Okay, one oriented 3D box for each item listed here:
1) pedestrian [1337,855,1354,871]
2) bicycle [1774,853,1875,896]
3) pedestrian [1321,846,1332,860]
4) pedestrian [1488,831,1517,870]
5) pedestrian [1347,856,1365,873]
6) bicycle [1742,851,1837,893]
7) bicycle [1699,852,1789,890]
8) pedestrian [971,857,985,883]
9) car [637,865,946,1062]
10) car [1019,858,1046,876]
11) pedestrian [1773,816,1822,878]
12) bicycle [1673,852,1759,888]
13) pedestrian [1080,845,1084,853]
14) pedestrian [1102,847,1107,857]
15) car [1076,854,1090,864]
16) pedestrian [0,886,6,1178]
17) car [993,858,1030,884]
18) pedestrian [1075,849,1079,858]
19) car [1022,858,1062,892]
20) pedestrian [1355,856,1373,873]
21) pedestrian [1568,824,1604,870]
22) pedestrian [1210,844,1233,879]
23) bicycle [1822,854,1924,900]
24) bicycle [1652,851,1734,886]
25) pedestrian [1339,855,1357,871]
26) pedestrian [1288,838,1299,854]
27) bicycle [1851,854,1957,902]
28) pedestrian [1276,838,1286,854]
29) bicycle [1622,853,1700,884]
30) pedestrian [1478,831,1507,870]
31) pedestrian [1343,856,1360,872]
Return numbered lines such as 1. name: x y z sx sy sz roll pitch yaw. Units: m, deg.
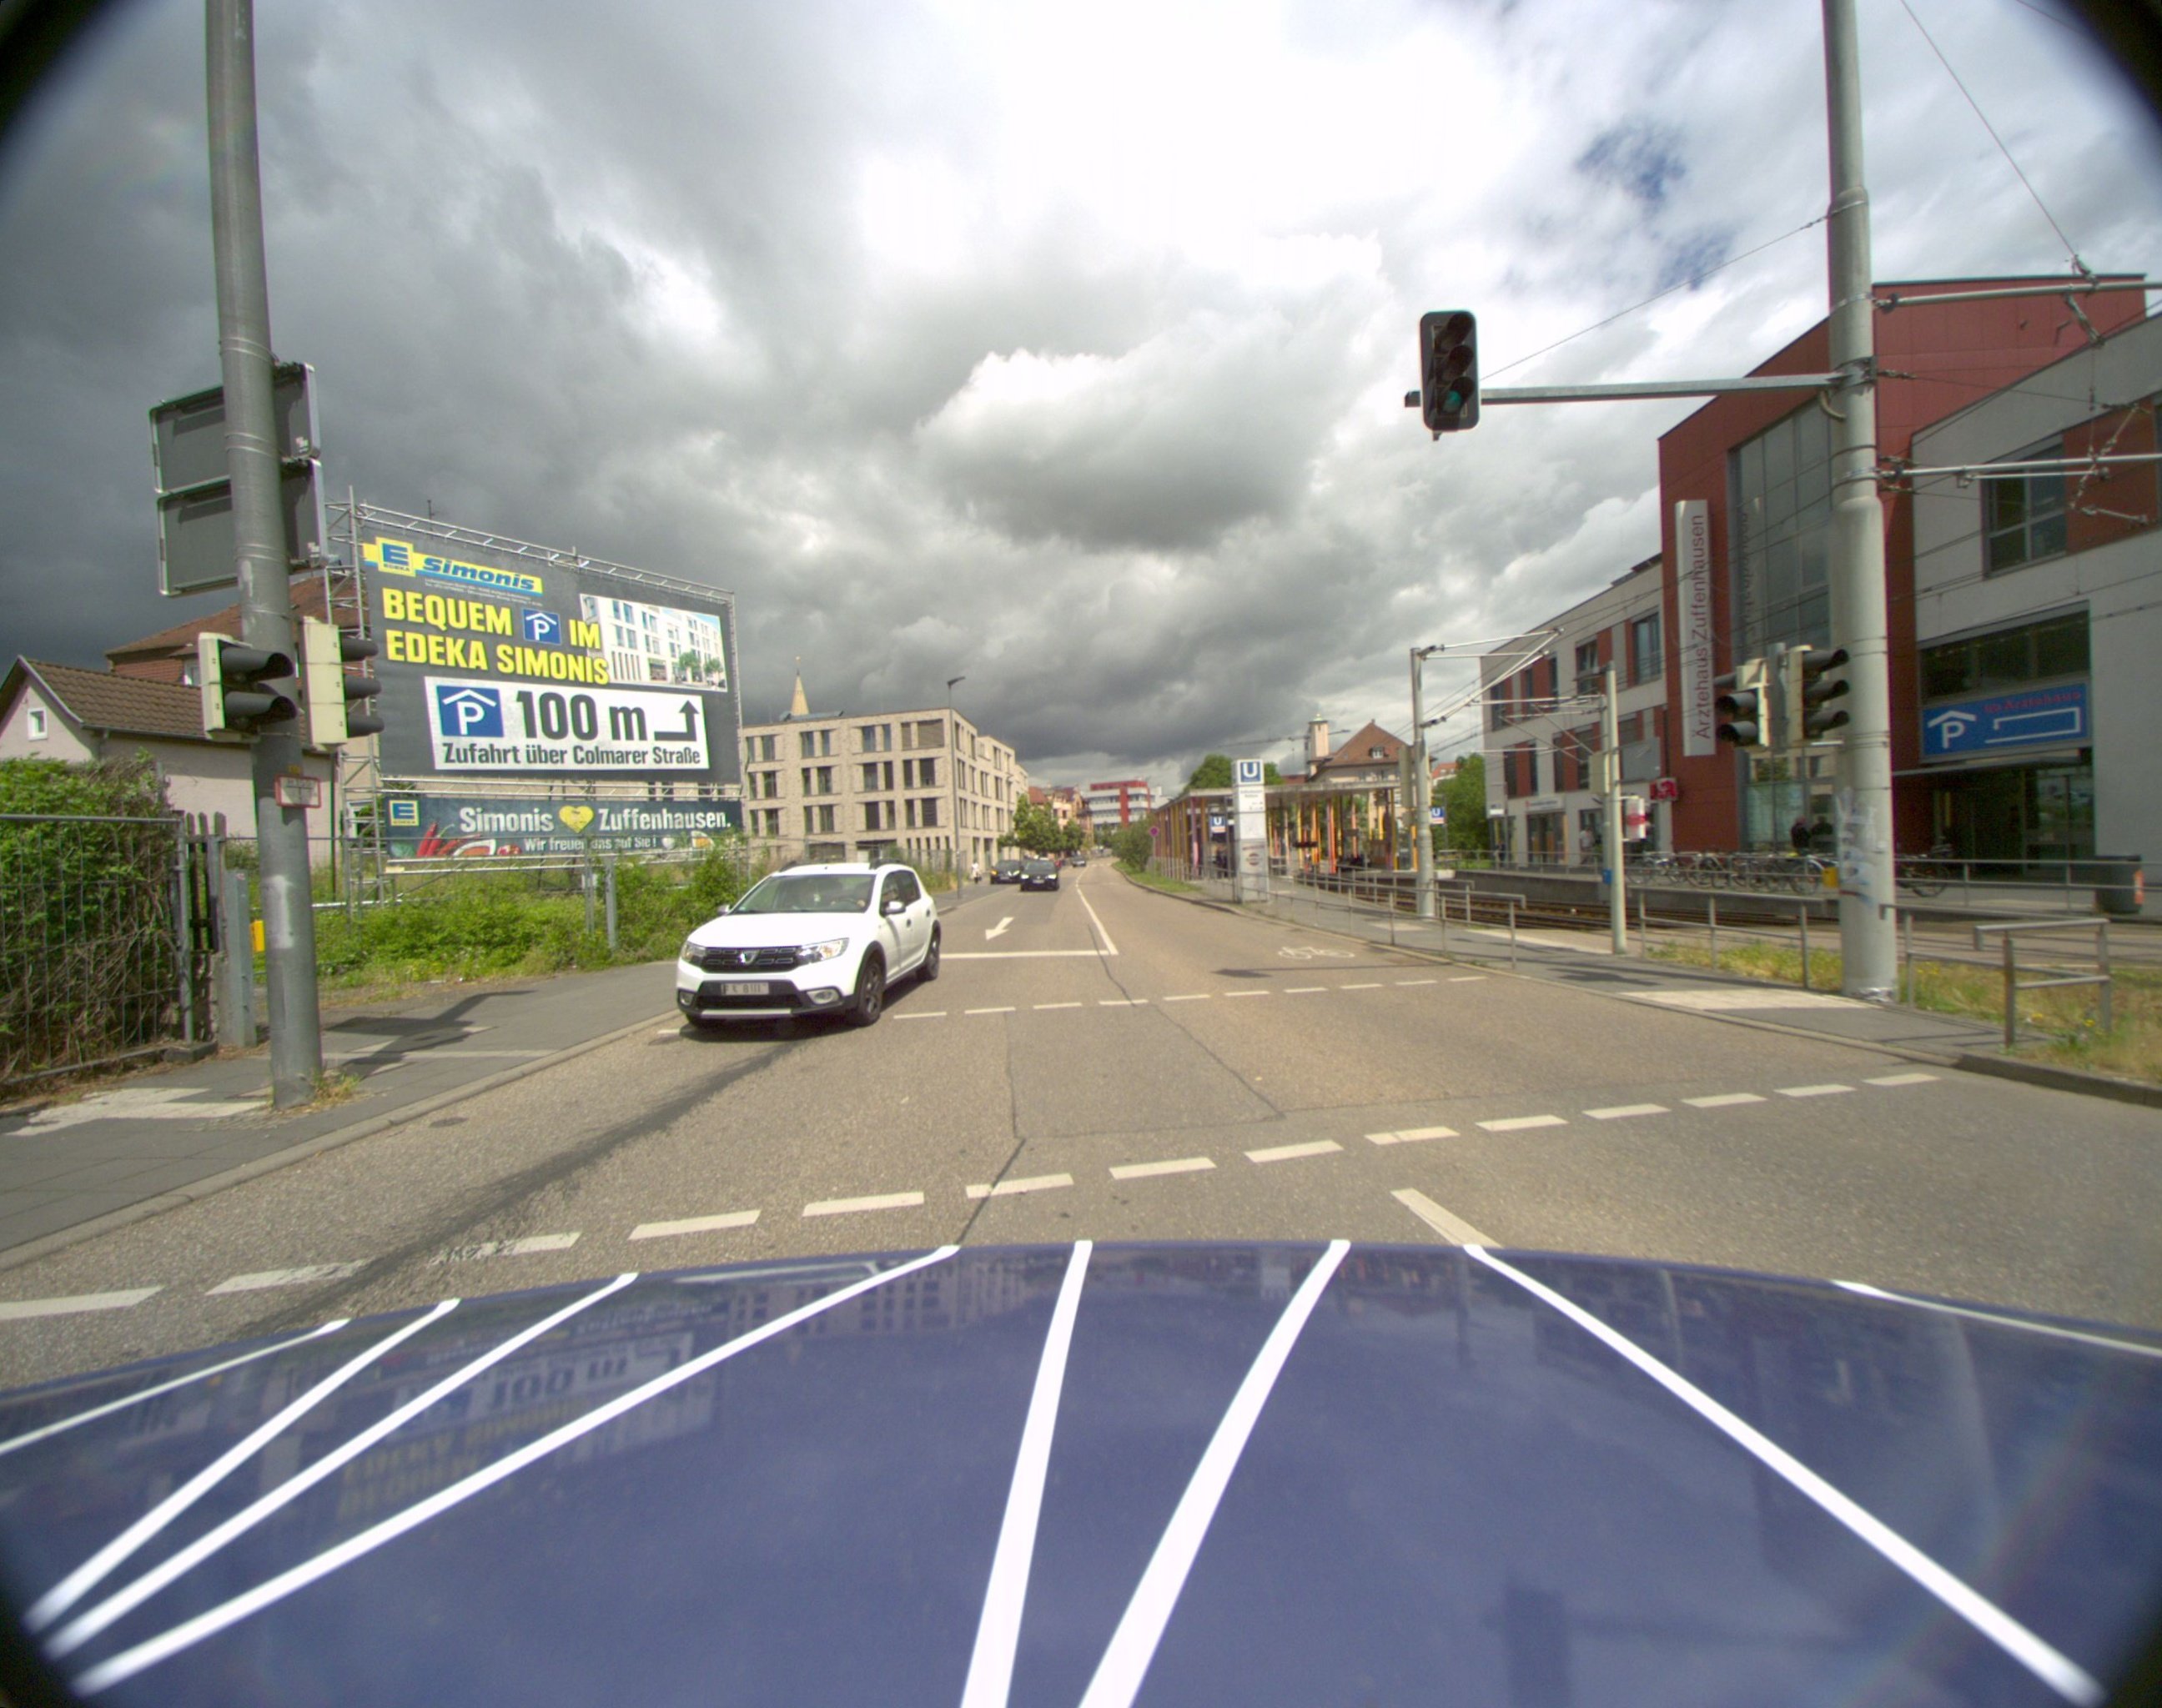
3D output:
1. pedestrian: 19.269 0.654 55.352 0.943 1.128 0.886 -2 0 2
2. bicycle: 17.636 0.482 18.039 1.862 0.930 0.454 -2 1 3
3. pedestrian: 25.062 -0.083 77.474 0.744 1.442 0.902 -2 0 -4
4. pedestrian: 21.543 -0.181 38.867 0.864 1.957 1.105 -1 2 -1
5. pedestrian: 19.057 0.705 52.640 0.943 1.128 0.886 -2 0 2
6. bicycle: 17.674 0.451 18.970 1.862 0.957 0.454 -2 1 3
7. bicycle: 17.540 0.442 20.122 1.861 0.934 0.454 -2 1 5
8. pedestrian: -6.124 0.954 45.368 0.673 1.503 0.782 -2 0 1
9. car: -2.746 0.946 8.217 1.718 1.541 3.794 -1 0 3
10. car: -3.817 1.004 59.955 1.677 1.367 3.795 -2 0 3
11. pedestrian: 22.001 -0.226 23.341 0.881 1.835 0.862 -4 3 -27
12. bicycle: 17.557 0.436 21.023 1.861 0.917 0.455 -2 1 8
13. pedestrian: 0.104 -0.864 138.672 0.673 1.503 0.783 -2 0 3
14. pedestrian: 4.611 -0.424 149.709 0.800 2.002 0.810 -1 0 9
15. car: 0.252 0.671 100.928 1.677 1.299 3.794 -1 1 3
16. pedestrian: -6.499 0.996 3.965 0.765 1.633 0.778 -1 0 12
17. car: -4.169 0.976 46.110 1.677 1.415 3.794 -1 1 3
18. pedestrian: -0.802 -0.087 138.634 0.673 1.503 0.783 -2 0 3
19. car: -1.812 0.960 36.108 1.678 1.425 3.794 -2 1 0
20. pedestrian: 19.252 0.719 51.684 0.943 1.128 0.886 -2 0 2
21. pedestrian: 21.966 -0.320 33.077 0.864 1.957 1.106 -1 2 3
22. pedestrian: 7.690 0.413 41.643 1.105 1.903 0.864 -1 2 2
23. bicycle: 17.703 0.501 16.999 1.739 0.952 0.428 -2 1 3
24. bicycle: 17.582 0.421 21.852 1.861 0.927 0.455 -2 1 9
25. pedestrian: 19.169 0.667 54.588 0.943 1.128 0.886 -2 0 2
26. pedestrian: 26.601 -1.036 95.183 1.127 2.002 1.179 -2 0 6
27. bicycle: 17.715 0.515 16.366 1.739 0.947 0.428 -2 1 3
28. pedestrian: 26.031 -1.037 98.818 1.127 2.002 1.459 -2 0 13
29. bicycle: 17.523 0.435 22.980 1.861 0.876 0.455 -2 1 9
30. pedestrian: 21.048 -0.198 38.890 0.864 1.957 1.105 -1 2 -1
31. pedestrian: 19.072 0.687 53.598 0.943 1.128 0.886 -2 0 2
